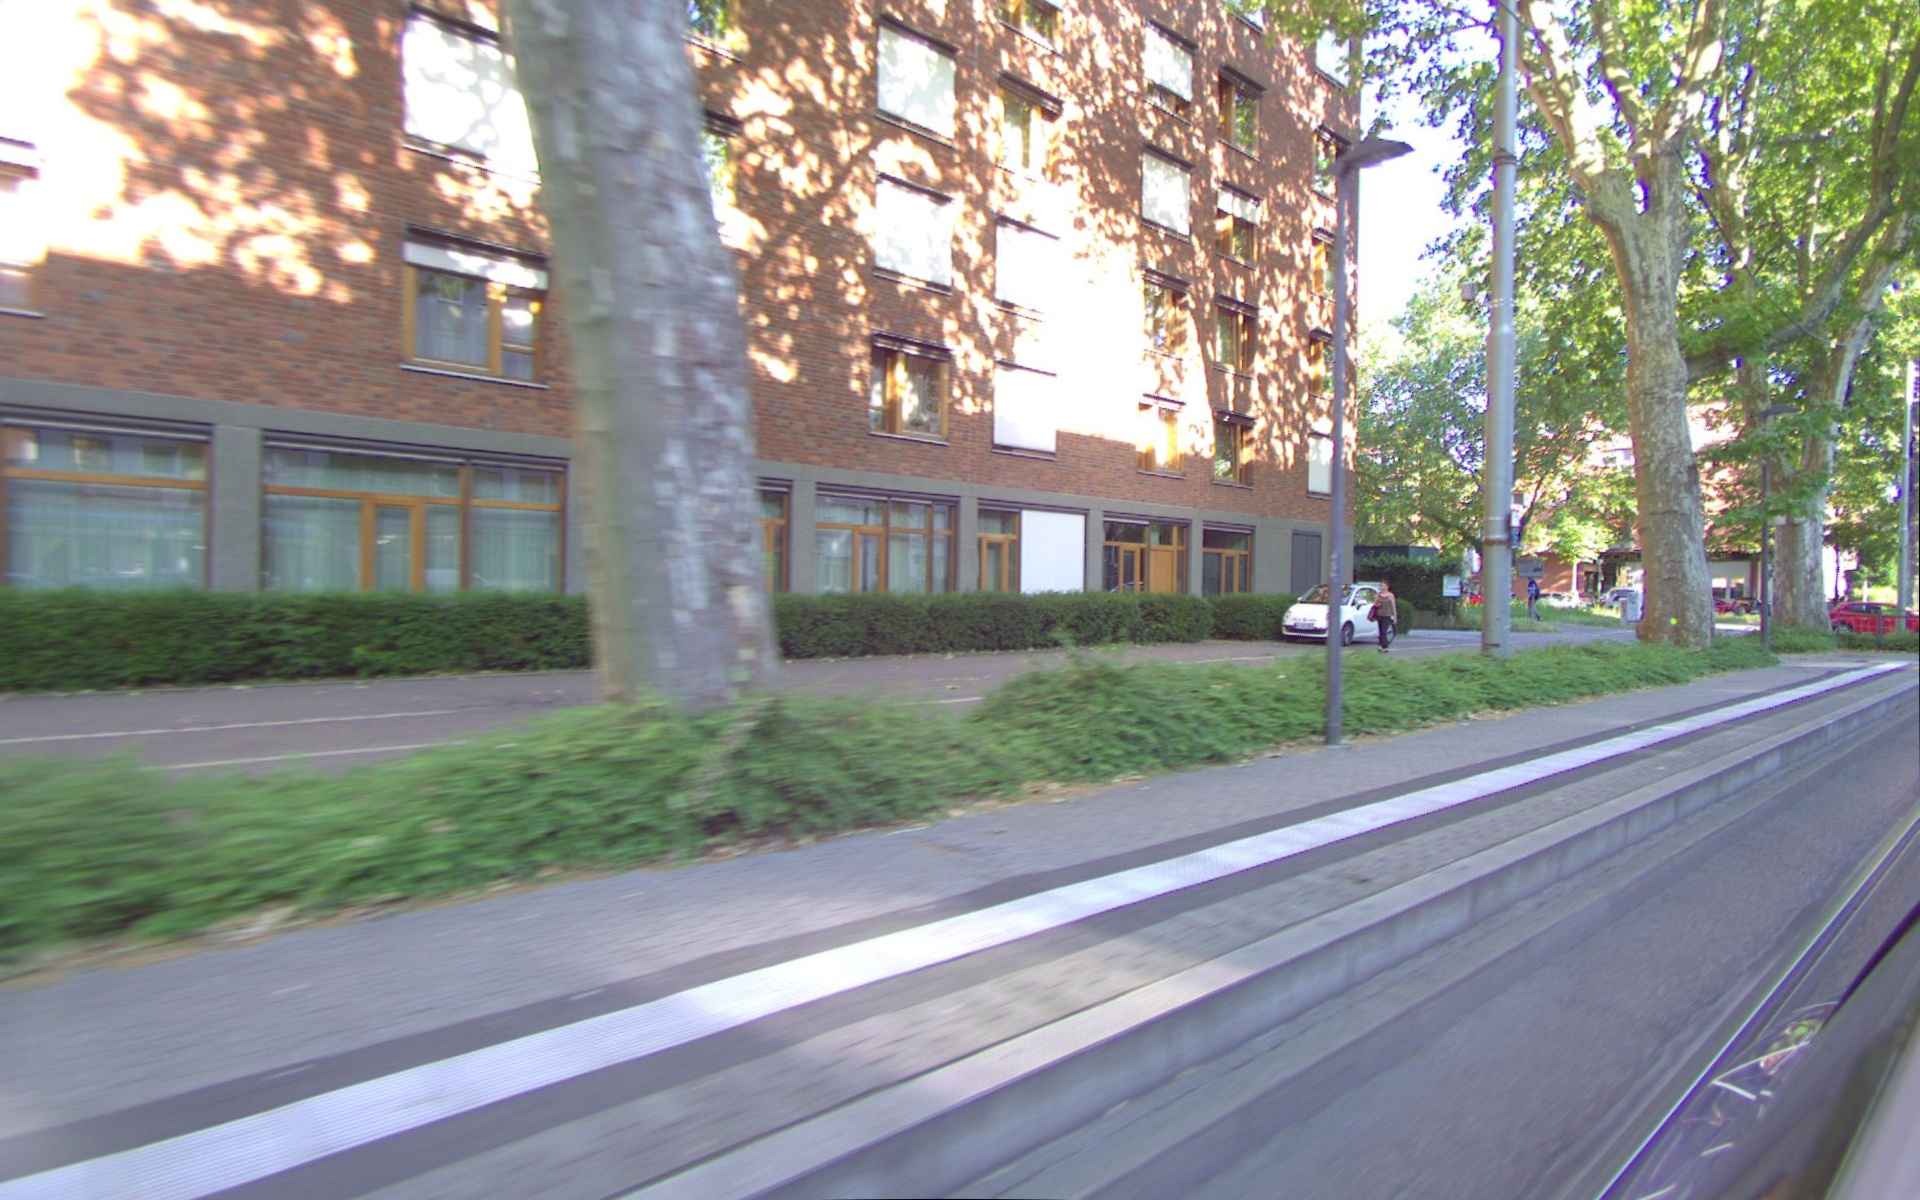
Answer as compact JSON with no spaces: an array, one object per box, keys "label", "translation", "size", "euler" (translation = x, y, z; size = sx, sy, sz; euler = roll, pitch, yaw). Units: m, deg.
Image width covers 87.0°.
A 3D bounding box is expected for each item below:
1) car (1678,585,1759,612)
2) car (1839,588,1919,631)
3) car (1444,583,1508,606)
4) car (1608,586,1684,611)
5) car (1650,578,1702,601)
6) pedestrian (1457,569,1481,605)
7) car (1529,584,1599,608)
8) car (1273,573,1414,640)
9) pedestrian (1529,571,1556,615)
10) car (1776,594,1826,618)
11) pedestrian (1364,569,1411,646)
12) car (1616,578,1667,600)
[{"label":"car","translation":[47.017,-0.097,62.753],"size":[1.964,1.549,3.674],"euler":[0,2,-39]},{"label":"car","translation":[36.370,0.372,38.713],"size":[1.964,1.549,3.872],"euler":[0,2,-39]},{"label":"car","translation":[37.514,-0.413,73.599],"size":[1.964,1.549,3.674],"euler":[0,2,-39]},{"label":"car","translation":[44.529,-0.116,65.763],"size":[1.964,1.549,3.674],"euler":[0,2,-39]},{"label":"car","translation":[50.026,-0.727,70.715],"size":[3.611,1.549,1.999],"euler":[0,1,-38]},{"label":"pedestrian","translation":[22.669,-0.583,45.105],"size":[0.689,1.558,0.690],"euler":[1,1,0]},{"label":"car","translation":[41.438,-0.289,69.443],"size":[1.964,1.549,3.674],"euler":[0,2,-39]},{"label":"car","translation":[9.643,0.129,25.338],"size":[3.892,1.527,1.657],"euler":[0,1,-41]},{"label":"pedestrian","translation":[23.561,-0.294,40.925],"size":[0.689,1.735,0.691],"euler":[0,1,-33]},{"label":"car","translation":[59.130,0.401,71.134],"size":[3.611,1.549,1.999],"euler":[0,1,-38]},{"label":"pedestrian","translation":[9.639,0.158,22.832],"size":[0.736,1.712,0.710],"euler":[0,1,-42]},{"label":"car","translation":[49.032,-0.774,72.804],"size":[3.611,1.549,1.999],"euler":[0,1,-38]}]
